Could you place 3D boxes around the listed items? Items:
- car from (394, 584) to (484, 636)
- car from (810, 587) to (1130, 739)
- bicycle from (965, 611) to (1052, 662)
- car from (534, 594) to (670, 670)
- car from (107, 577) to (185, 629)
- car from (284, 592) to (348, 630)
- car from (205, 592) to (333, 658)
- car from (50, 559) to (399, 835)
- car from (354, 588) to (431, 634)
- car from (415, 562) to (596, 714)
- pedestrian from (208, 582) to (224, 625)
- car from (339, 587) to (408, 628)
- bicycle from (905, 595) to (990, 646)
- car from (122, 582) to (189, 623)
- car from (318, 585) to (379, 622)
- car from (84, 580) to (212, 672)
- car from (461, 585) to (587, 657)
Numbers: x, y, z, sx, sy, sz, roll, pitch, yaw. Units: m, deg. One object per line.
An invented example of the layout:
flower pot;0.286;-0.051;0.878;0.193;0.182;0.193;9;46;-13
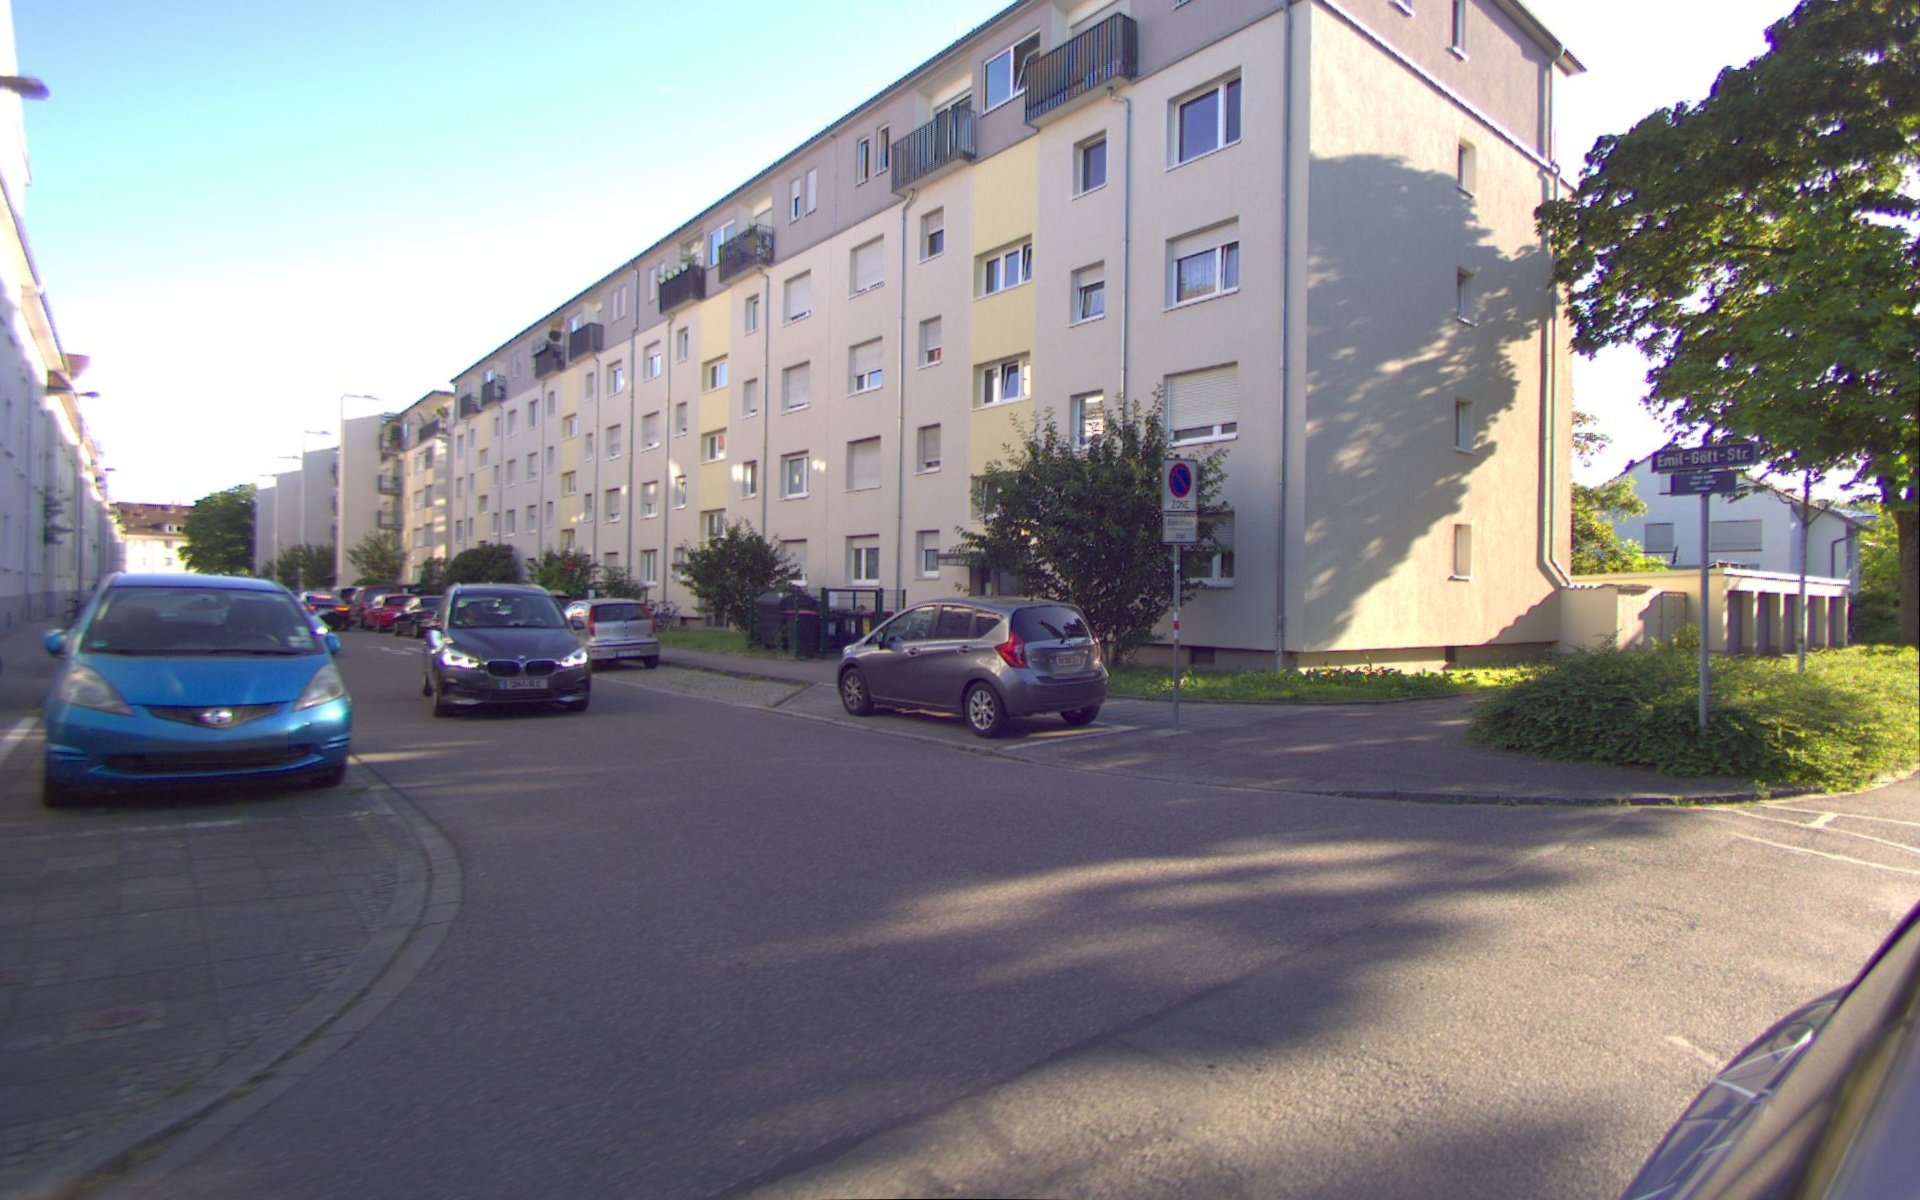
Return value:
car;-17.981;0.326;34.866;1.866;1.688;3.771;2;-1;-41
car;-0.030;0.649;12.487;1.697;1.533;4.047;-2;1;-41
bicycle;0.970;0.721;20.718;0.536;0.971;1.972;0;0;-43
car;-7.814;0.644;21.914;1.718;1.513;3.498;1;-1;-39
car;-23.919;0.102;29.834;1.673;1.422;3.997;0;-1;-38
car;-25.150;0.418;39.464;1.718;1.409;3.498;1;-1;-39
car;-15.612;0.531;22.804;3.787;1.369;1.685;0;-1;45
car;-5.937;0.558;7.976;1.779;1.602;3.992;2;-1;-42
car;-22.388;0.427;39.846;1.866;1.688;3.771;2;-1;-41
car;-6.215;0.465;13.564;1.734;1.695;4.281;0;-1;-31
pedestrian;-35.307;0.171;48.005;0.545;2.039;0.808;1;-1;-41
car;-25.737;0.318;44.356;1.866;1.688;3.771;2;-1;-41
bicycle;-0.274;0.394;20.412;0.536;0.971;1.972;0;0;-43
car;-28.472;0.082;35.777;1.683;1.369;4.015;1;-1;-41
car;-29.385;0.140;48.593;1.866;1.688;3.771;2;-1;-41
car;-15.162;0.448;18.909;1.703;1.517;4.021;1;-1;-40
car;-11.087;0.461;25.634;1.866;1.687;3.771;0;1;-41
